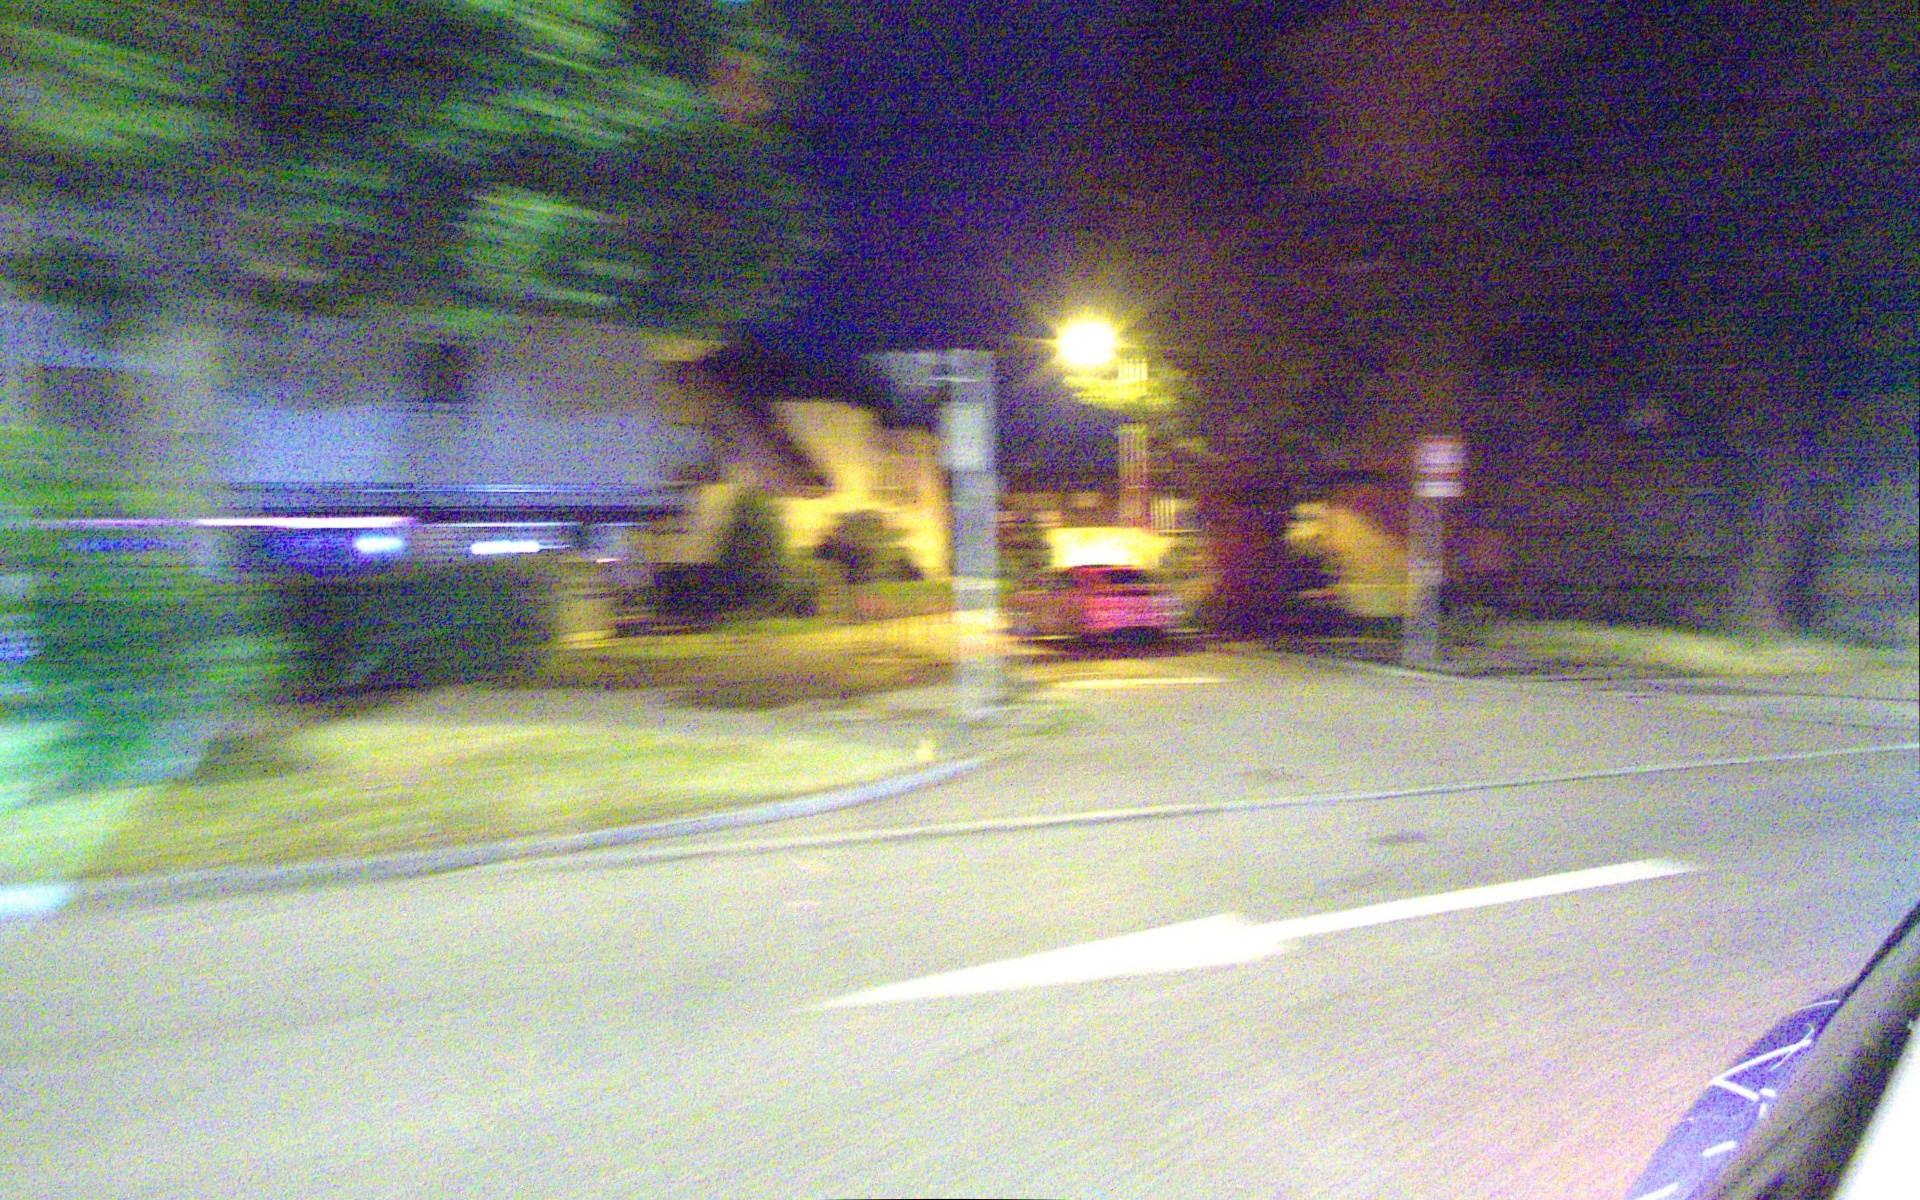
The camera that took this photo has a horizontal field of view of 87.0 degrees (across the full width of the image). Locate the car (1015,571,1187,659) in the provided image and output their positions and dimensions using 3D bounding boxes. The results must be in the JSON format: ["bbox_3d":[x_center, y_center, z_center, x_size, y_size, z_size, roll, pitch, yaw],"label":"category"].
[{"bbox_3d":[2.710,0.218,20.596,2.010,1.575,4.264,0,1,-14],"label":"car"}]

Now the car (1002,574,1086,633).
[{"bbox_3d":[2.114,0.035,26.526,1.844,1.404,4.078,-1,1,0],"label":"car"}]
